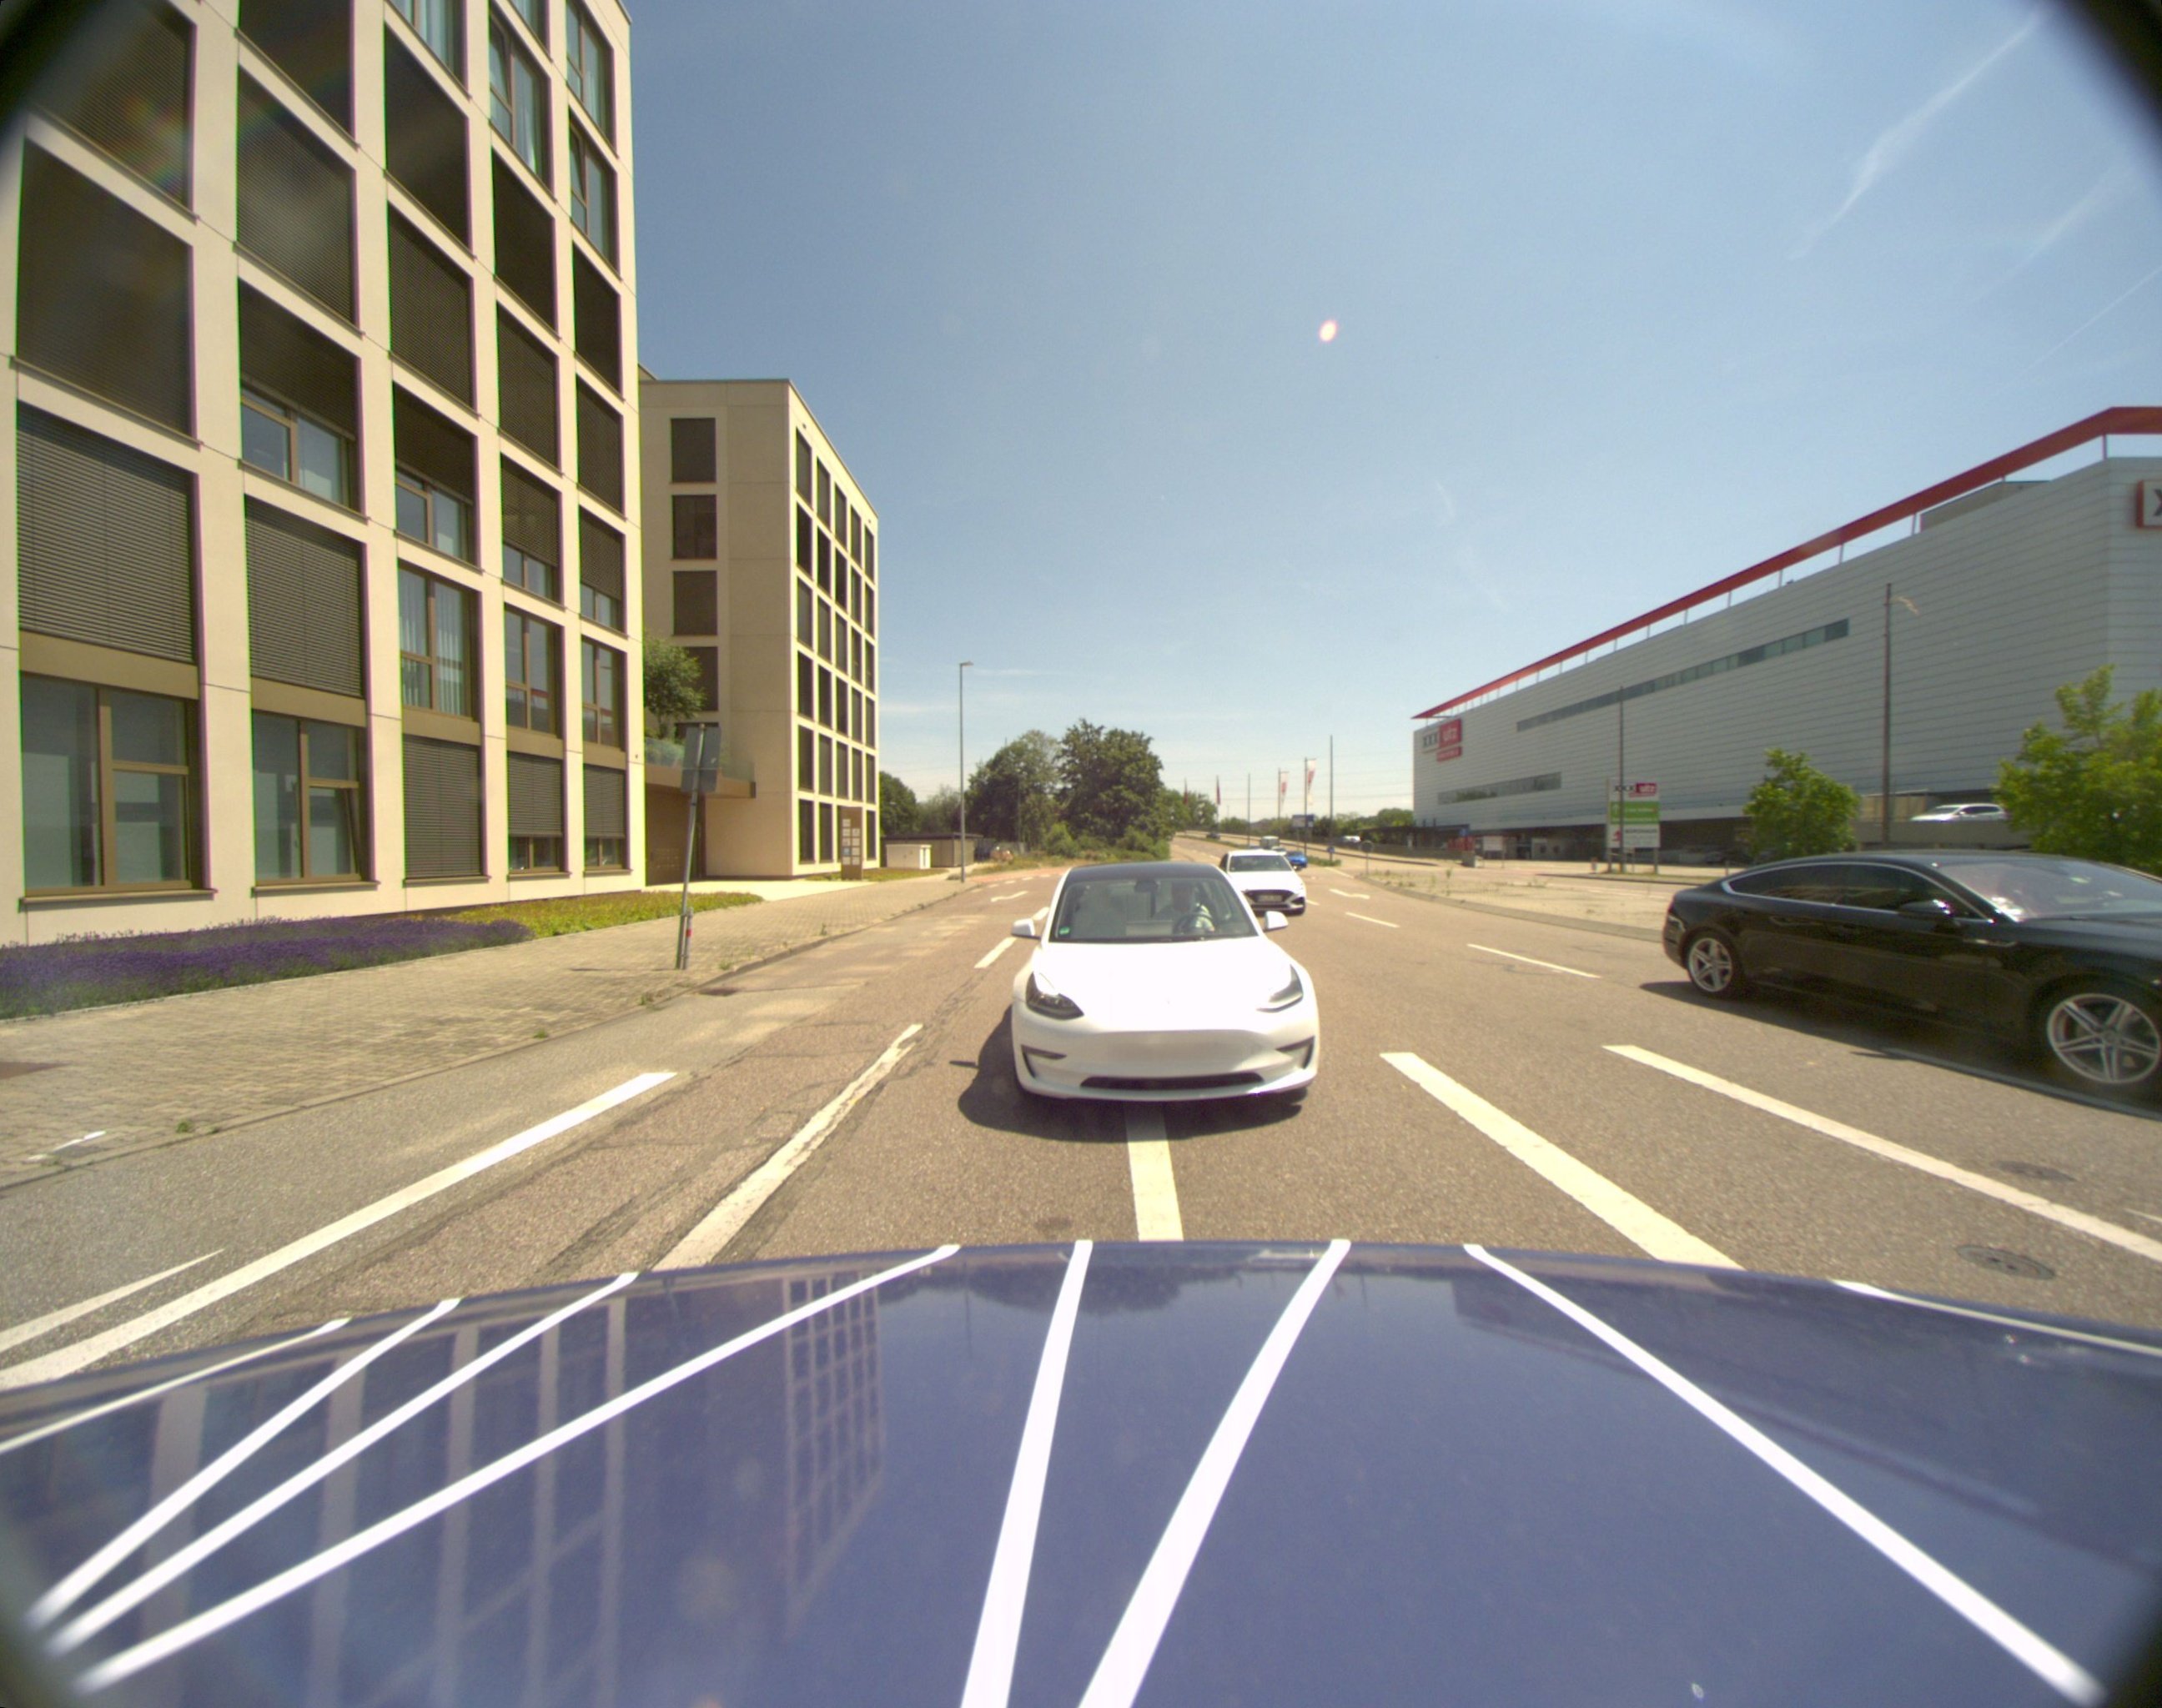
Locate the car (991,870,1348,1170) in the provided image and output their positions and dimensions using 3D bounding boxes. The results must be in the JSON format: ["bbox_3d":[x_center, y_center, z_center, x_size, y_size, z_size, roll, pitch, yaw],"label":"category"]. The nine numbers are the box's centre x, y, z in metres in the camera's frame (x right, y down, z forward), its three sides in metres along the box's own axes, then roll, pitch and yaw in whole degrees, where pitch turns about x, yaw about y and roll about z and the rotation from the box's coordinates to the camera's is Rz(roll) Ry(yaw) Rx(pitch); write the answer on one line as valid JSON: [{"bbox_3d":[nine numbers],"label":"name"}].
[{"bbox_3d":[0.428,0.932,6.263,1.880,1.417,4.405,-2,1,-1],"label":"car"}]

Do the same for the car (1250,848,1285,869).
[{"bbox_3d":[12.828,0.304,52.564,1.801,1.369,4.408,0,0,6],"label":"car"}]

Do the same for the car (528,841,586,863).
[{"bbox_3d":[-46.675,-0.198,67.799,1.997,1.841,4.003,0,1,10],"label":"car"}]

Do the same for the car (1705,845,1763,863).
[{"bbox_3d":[61.199,0.013,71.287,3.746,1.611,1.912,0,1,1],"label":"car"}]

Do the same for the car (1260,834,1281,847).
[{"bbox_3d":[28.283,-2.014,113.511,1.836,1.840,4.838,0,1,-3],"label":"car"}]

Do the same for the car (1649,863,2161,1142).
[{"bbox_3d":[6.576,0.796,5.449,1.752,1.382,4.534,-1,0,3],"label":"car"}]

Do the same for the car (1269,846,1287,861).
[{"bbox_3d":[21.546,-0.045,83.192,1.677,1.566,4.060,2,1,13],"label":"car"}]

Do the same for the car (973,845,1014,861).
[{"bbox_3d":[-9.432,-0.165,82.089,4.005,1.652,1.834,0,1,-23],"label":"car"}]

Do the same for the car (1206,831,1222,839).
[{"bbox_3d":[24.652,-3.514,140.980,1.862,1.295,3.890,1,1,-8],"label":"car"}]

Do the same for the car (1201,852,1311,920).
[{"bbox_3d":[4.071,0.687,18.347,1.735,1.441,4.230,0,0,1],"label":"car"}]

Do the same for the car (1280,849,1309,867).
[{"bbox_3d":[17.746,0.294,63.255,1.800,1.405,4.409,0,1,8],"label":"car"}]

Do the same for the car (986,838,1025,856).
[{"bbox_3d":[-8.594,-0.773,86.095,4.005,1.942,1.996,0,1,-24],"label":"car"}]
